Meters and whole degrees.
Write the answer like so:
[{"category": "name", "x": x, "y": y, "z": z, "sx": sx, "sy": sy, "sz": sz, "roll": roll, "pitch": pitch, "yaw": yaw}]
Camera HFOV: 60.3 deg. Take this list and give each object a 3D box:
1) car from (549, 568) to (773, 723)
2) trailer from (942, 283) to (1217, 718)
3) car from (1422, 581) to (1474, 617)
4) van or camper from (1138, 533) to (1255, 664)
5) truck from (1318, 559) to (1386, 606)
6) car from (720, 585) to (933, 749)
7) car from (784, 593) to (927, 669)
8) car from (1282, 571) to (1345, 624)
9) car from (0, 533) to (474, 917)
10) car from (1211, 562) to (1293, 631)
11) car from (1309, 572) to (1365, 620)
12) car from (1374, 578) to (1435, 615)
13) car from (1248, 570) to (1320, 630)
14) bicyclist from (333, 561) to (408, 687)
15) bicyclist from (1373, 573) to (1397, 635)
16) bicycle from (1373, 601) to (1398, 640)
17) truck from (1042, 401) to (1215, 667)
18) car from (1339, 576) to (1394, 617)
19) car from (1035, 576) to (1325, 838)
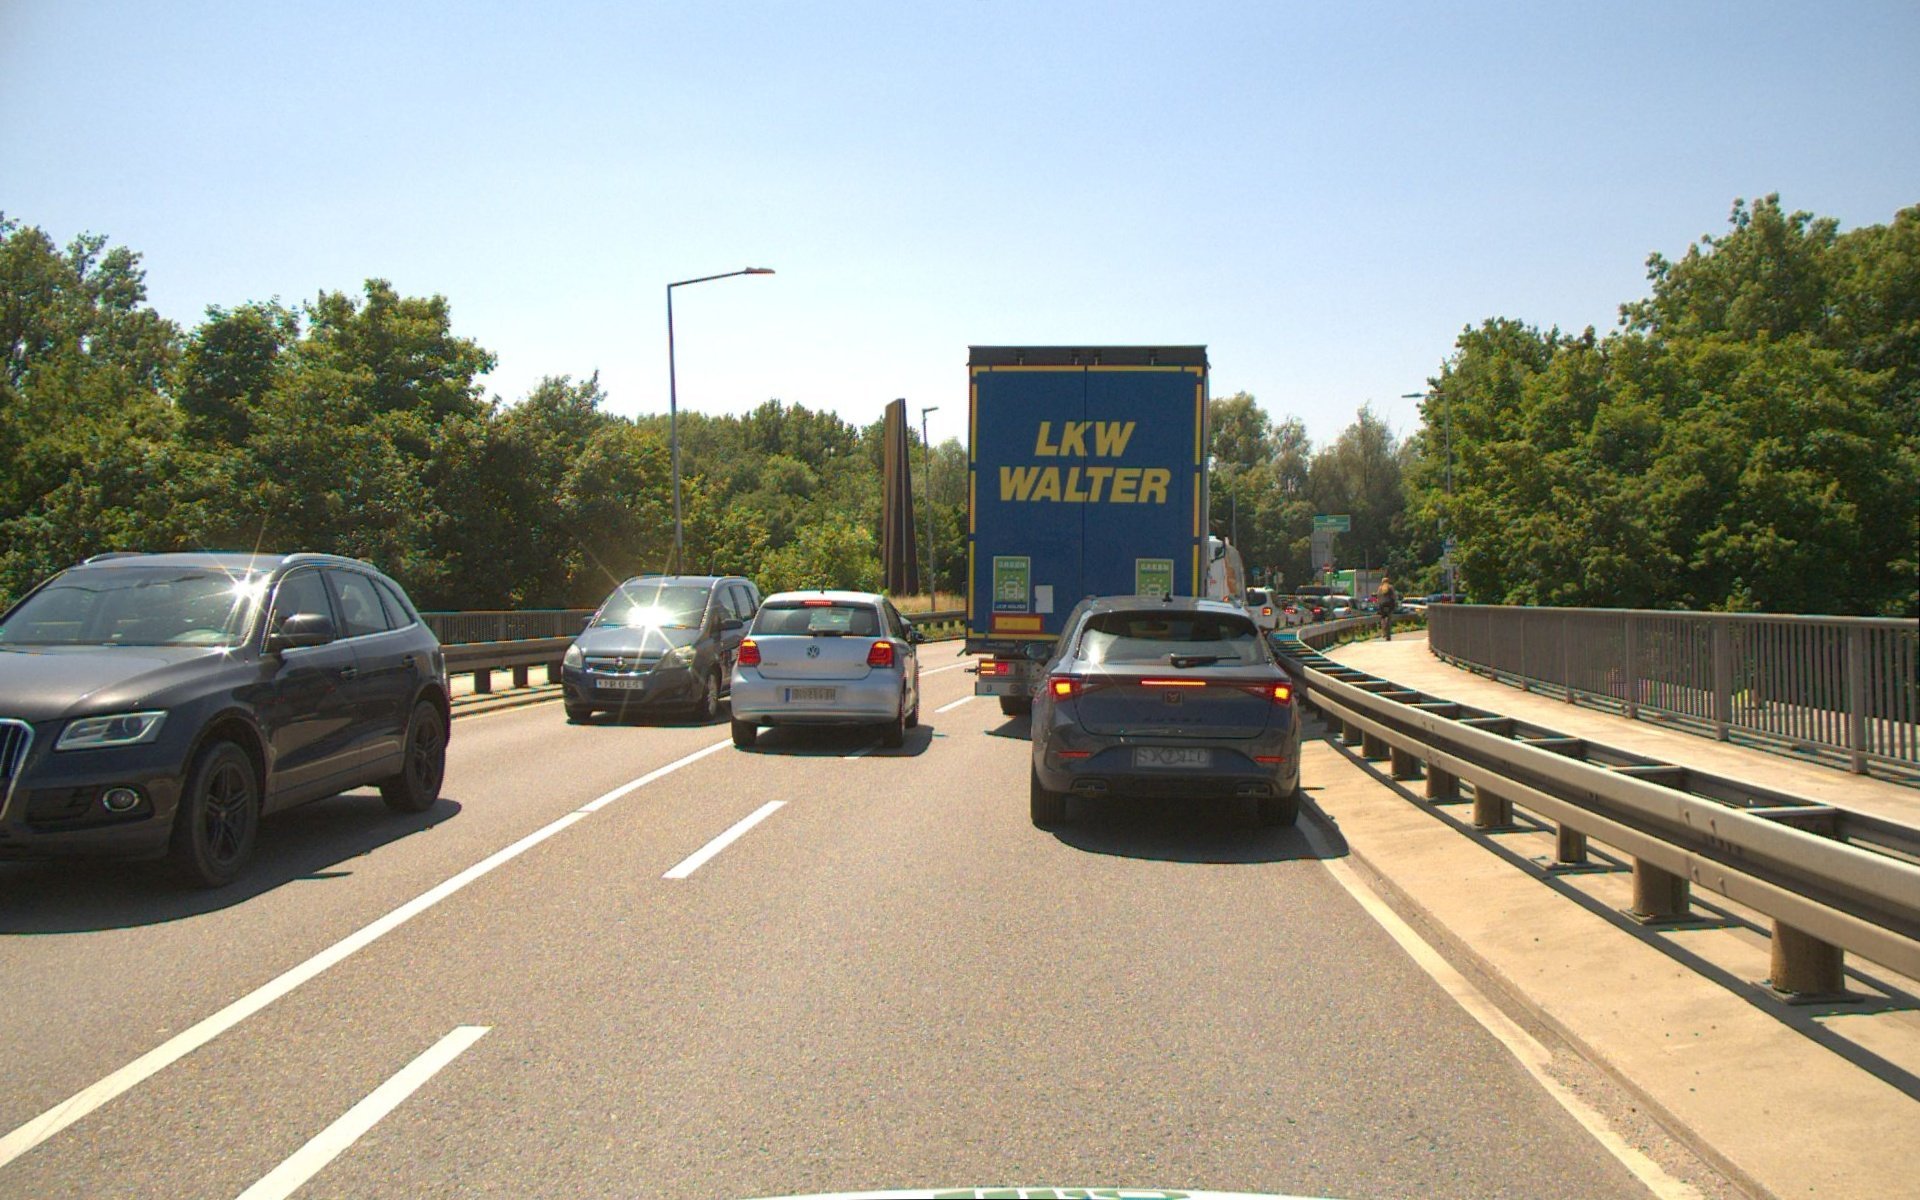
[{"category": "car", "x": -3.462, "y": 0.471, "z": 19.933, "sx": 1.671, "sy": 1.654, "sz": 4.255, "roll": 1, "pitch": 0, "yaw": 4}, {"category": "trailer", "x": 2.148, "y": -1.101, "z": 23.455, "sx": 2.842, "sy": 4.496, "sz": 12.444, "roll": 1, "pitch": 1, "yaw": 8}, {"category": "car", "x": 25.221, "y": -0.027, "z": 85.413, "sx": 1.654, "sy": 1.791, "sz": 3.992, "roll": 0, "pitch": 0, "yaw": 30}, {"category": "van or camper", "x": 5.745, "y": -0.078, "z": 39.503, "sx": 2.108, "sy": 2.864, "sz": 6.392, "roll": 0, "pitch": 1, "yaw": 14}, {"category": "truck", "x": 25.225, "y": -1.143, "z": 106.676, "sx": 2.290, "sy": 2.924, "sz": 5.931, "roll": 0, "pitch": 1, "yaw": -8}, {"category": "car", "x": -1.240, "y": 0.586, "z": 16.937, "sx": 1.642, "sy": 1.435, "sz": 3.977, "roll": 1, "pitch": 1, "yaw": 3}, {"category": "car", "x": -1.912, "y": 0.548, "z": 31.408, "sx": 1.642, "sy": 1.331, "sz": 3.976, "roll": 0, "pitch": 0, "yaw": 13}, {"category": "car", "x": 13.040, "y": -0.110, "z": 60.889, "sx": 1.685, "sy": 1.876, "sz": 4.001, "roll": 0, "pitch": 1, "yaw": 21}, {"category": "car", "x": -4.329, "y": 0.529, "z": 9.362, "sx": 1.763, "sy": 1.669, "sz": 4.302, "roll": 0, "pitch": 0, "yaw": 2}, {"category": "car", "x": 8.271, "y": -0.132, "z": 46.648, "sx": 1.685, "sy": 1.876, "sz": 4.002, "roll": 0, "pitch": 1, "yaw": 19}, {"category": "car", "x": 15.318, "y": -0.189, "z": 67.102, "sx": 1.685, "sy": 1.876, "sz": 4.001, "roll": 0, "pitch": 1, "yaw": 21}, {"category": "car", "x": 21.510, "y": -0.150, "z": 79.865, "sx": 1.956, "sy": 1.603, "sz": 3.994, "roll": 2, "pitch": -1, "yaw": 28}, {"category": "car", "x": 10.424, "y": -0.036, "z": 53.058, "sx": 1.685, "sy": 1.834, "sz": 4.001, "roll": 0, "pitch": 1, "yaw": 20}, {"category": "bicyclist", "x": -7.408, "y": 0.289, "z": 20.816, "sx": 0.571, "sy": 1.548, "sz": 0.896, "roll": 0, "pitch": 0, "yaw": 4}, {"category": "bicyclist", "x": 12.102, "y": 0.114, "z": 47.111, "sx": 0.565, "sy": 1.712, "sz": 0.730, "roll": -3, "pitch": 0, "yaw": 11}, {"category": "bicycle", "x": 12.127, "y": 0.586, "z": 47.123, "sx": 0.569, "sy": 1.053, "sz": 1.486, "roll": -3, "pitch": 0, "yaw": 11}, {"category": "truck", "x": 3.354, "y": -1.162, "z": 31.363, "sx": 2.842, "sy": 4.496, "sz": 6.561, "roll": 1, "pitch": 1, "yaw": 9}, {"category": "car", "x": 18.132, "y": -0.153, "z": 73.635, "sx": 1.652, "sy": 1.791, "sz": 3.997, "roll": 0, "pitch": 0, "yaw": 25}, {"category": "car", "x": 1.390, "y": 0.593, "z": 11.425, "sx": 1.642, "sy": 1.481, "sz": 3.961, "roll": 0, "pitch": 0, "yaw": 4}]
